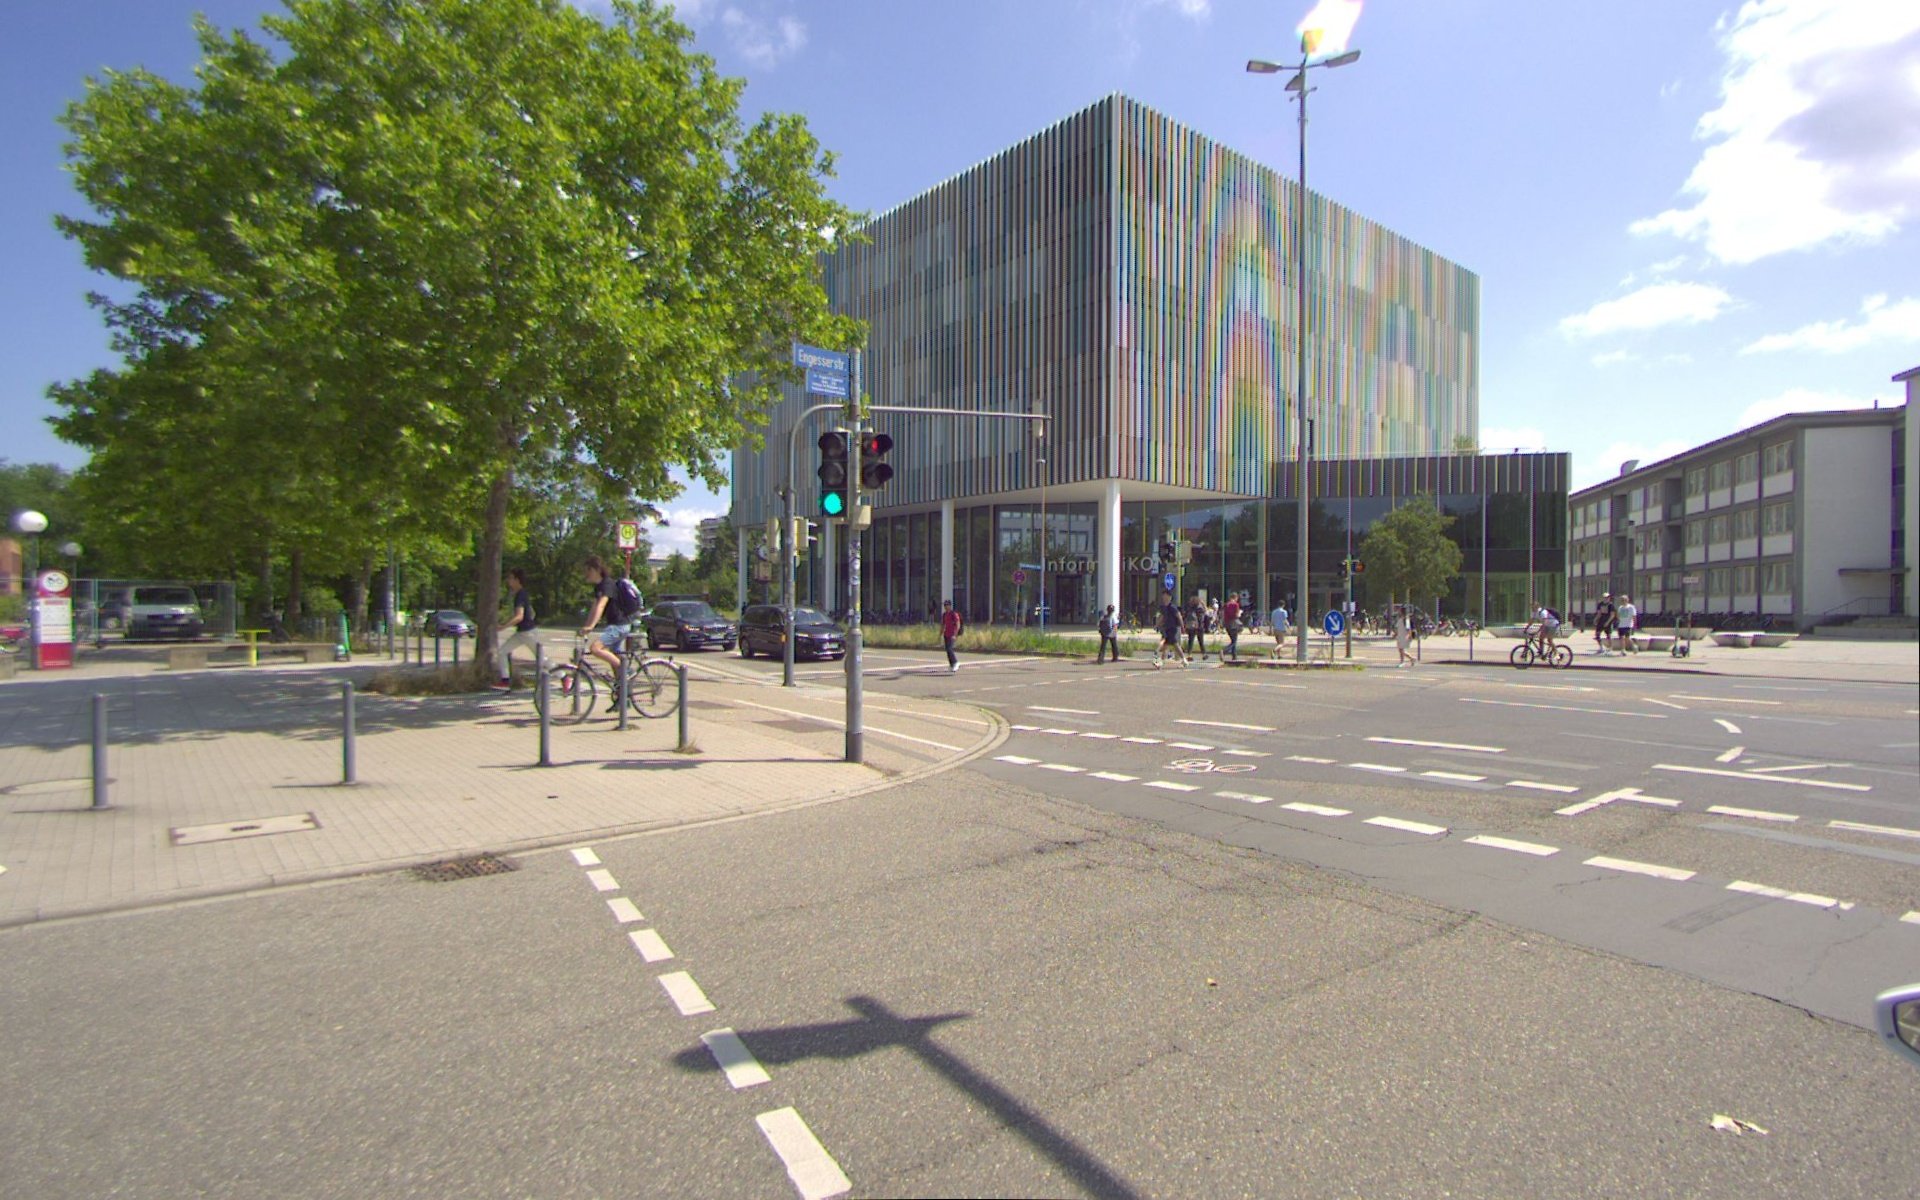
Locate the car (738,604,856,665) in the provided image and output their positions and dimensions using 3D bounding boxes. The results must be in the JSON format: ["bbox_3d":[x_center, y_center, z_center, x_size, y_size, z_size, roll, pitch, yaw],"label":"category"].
[{"bbox_3d":[-4.954,0.991,30.121,1.638,1.683,4.249,-1,0,-38],"label":"car"}]

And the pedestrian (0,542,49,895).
[{"bbox_3d":[-5.634,0.613,5.381,1.068,1.876,0.721,2,1,22],"label":"pedestrian"}]

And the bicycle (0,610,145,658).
[{"bbox_3d":[-22.956,0.856,25.868,0.987,1.163,2.935,1,0,42],"label":"bicycle"}]

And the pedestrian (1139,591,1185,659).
[{"bbox_3d":[5.777,0.718,28.763,0.991,1.901,0.851,0,0,-20],"label":"pedestrian"}]

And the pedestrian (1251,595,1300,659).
[{"bbox_3d":[9.279,0.785,29.533,1.078,1.843,0.861,0,0,-17],"label":"pedestrian"}]

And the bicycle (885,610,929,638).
[{"bbox_3d":[-3.555,1.614,67.417,2.924,1.863,0.952,1,0,-38],"label":"bicycle"}]

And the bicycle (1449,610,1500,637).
[{"bbox_3d":[25.118,1.118,49.082,1.177,1.254,2.952,1,0,5],"label":"bicycle"}]

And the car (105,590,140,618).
[{"bbox_3d":[-59.992,0.304,71.933,1.851,1.965,4.347,0,-1,-41],"label":"car"}]

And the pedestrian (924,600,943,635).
[{"bbox_3d":[-1.806,1.222,68.898,0.883,2.377,0.964,1,0,-40],"label":"pedestrian"}]

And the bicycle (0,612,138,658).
[{"bbox_3d":[-23.733,0.905,26.604,0.987,1.152,2.935,1,0,42],"label":"bicycle"}]

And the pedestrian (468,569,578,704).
[{"bbox_3d":[-6.375,0.510,14.649,1.382,1.880,0.699,-1,0,-31],"label":"pedestrian"}]

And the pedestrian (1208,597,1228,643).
[{"bbox_3d":[14.769,1.112,57.524,0.956,2.599,1.015,1,0,8],"label":"pedestrian"}]

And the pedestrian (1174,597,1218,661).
[{"bbox_3d":[6.327,0.765,26.934,0.848,1.676,0.825,0,0,-19],"label":"pedestrian"}]

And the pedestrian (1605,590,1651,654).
[{"bbox_3d":[20.312,0.668,30.556,0.850,1.914,0.913,0,0,6],"label":"pedestrian"}]

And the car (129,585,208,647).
[{"bbox_3d":[-26.728,0.536,33.867,1.851,1.965,4.718,0,-1,-41],"label":"car"}]

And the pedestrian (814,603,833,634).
[{"bbox_3d":[-9.775,1.326,71.910,1.006,2.231,0.964,1,0,-40],"label":"pedestrian"}]

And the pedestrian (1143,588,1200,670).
[{"bbox_3d":[5.028,0.685,23.887,1.066,1.895,0.829,0,0,-17],"label":"pedestrian"}]

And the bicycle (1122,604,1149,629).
[{"bbox_3d":[9.185,0.837,52.429,1.176,1.254,2.953,1,0,13],"label":"bicycle"}]

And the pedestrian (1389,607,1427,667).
[{"bbox_3d":[11.713,0.949,26.268,0.813,1.544,0.813,0,0,31],"label":"pedestrian"}]

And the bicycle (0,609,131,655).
[{"bbox_3d":[-24.601,0.852,27.420,0.987,1.165,2.935,1,0,42],"label":"bicycle"}]

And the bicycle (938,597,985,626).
[{"bbox_3d":[0.083,0.744,64.306,2.916,1.863,1.009,1,0,-30],"label":"bicycle"}]

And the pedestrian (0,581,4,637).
[{"bbox_3d":[-38.922,0.356,40.099,1.143,2.229,1.034,-1,-1,44],"label":"pedestrian"}]

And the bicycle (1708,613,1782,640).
[{"bbox_3d":[42.154,1.400,53.955,2.905,1.381,1.118,1,0,13],"label":"bicycle"}]

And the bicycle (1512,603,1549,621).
[{"bbox_3d":[52.304,1.131,92.071,2.914,1.595,1.116,1,0,-13],"label":"bicycle"}]

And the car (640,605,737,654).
[{"bbox_3d":[-9.869,1.028,36.264,1.638,1.683,4.773,0,-1,-38],"label":"car"}]

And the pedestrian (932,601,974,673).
[{"bbox_3d":[-0.170,0.892,24.286,0.748,1.701,0.749,0,-1,-35],"label":"pedestrian"}]

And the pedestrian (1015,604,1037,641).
[{"bbox_3d":[4.221,1.426,64.193,1.006,2.377,0.964,1,0,-40],"label":"pedestrian"}]

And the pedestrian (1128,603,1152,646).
[{"bbox_3d":[10.981,1.478,61.275,1.006,2.599,0.964,1,0,-40],"label":"pedestrian"}]

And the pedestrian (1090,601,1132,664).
[{"bbox_3d":[3.959,0.833,26.335,0.791,1.619,0.764,0,-1,-38],"label":"pedestrian"}]

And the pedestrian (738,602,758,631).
[{"bbox_3d":[-15.986,1.233,75.761,1.119,2.205,0.964,1,0,-40],"label":"pedestrian"}]

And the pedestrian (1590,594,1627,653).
[{"bbox_3d":[20.301,0.735,31.459,0.657,1.839,0.816,0,0,6],"label":"pedestrian"}]

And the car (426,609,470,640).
[{"bbox_3d":[-26.460,1.233,51.884,1.623,1.506,3.963,0,-1,-33],"label":"car"}]

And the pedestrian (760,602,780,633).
[{"bbox_3d":[-13.705,1.254,72.458,1.119,2.205,0.964,1,0,-40],"label":"pedestrian"}]

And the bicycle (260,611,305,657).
[{"bbox_3d":[-17.908,0.867,26.529,0.660,1.128,2.585,1,0,-41],"label":"bicycle"}]

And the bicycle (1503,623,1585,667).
[{"bbox_3d":[15.933,1.209,27.399,1.963,1.161,0.847,0,0,-17],"label":"bicycle"}]

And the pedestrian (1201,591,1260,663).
[{"bbox_3d":[7.018,0.686,26.052,1.247,1.831,0.805,0,0,-19],"label":"pedestrian"}]

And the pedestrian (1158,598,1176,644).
[{"bbox_3d":[11.933,1.210,57.964,0.956,2.599,1.015,1,0,14],"label":"pedestrian"}]
